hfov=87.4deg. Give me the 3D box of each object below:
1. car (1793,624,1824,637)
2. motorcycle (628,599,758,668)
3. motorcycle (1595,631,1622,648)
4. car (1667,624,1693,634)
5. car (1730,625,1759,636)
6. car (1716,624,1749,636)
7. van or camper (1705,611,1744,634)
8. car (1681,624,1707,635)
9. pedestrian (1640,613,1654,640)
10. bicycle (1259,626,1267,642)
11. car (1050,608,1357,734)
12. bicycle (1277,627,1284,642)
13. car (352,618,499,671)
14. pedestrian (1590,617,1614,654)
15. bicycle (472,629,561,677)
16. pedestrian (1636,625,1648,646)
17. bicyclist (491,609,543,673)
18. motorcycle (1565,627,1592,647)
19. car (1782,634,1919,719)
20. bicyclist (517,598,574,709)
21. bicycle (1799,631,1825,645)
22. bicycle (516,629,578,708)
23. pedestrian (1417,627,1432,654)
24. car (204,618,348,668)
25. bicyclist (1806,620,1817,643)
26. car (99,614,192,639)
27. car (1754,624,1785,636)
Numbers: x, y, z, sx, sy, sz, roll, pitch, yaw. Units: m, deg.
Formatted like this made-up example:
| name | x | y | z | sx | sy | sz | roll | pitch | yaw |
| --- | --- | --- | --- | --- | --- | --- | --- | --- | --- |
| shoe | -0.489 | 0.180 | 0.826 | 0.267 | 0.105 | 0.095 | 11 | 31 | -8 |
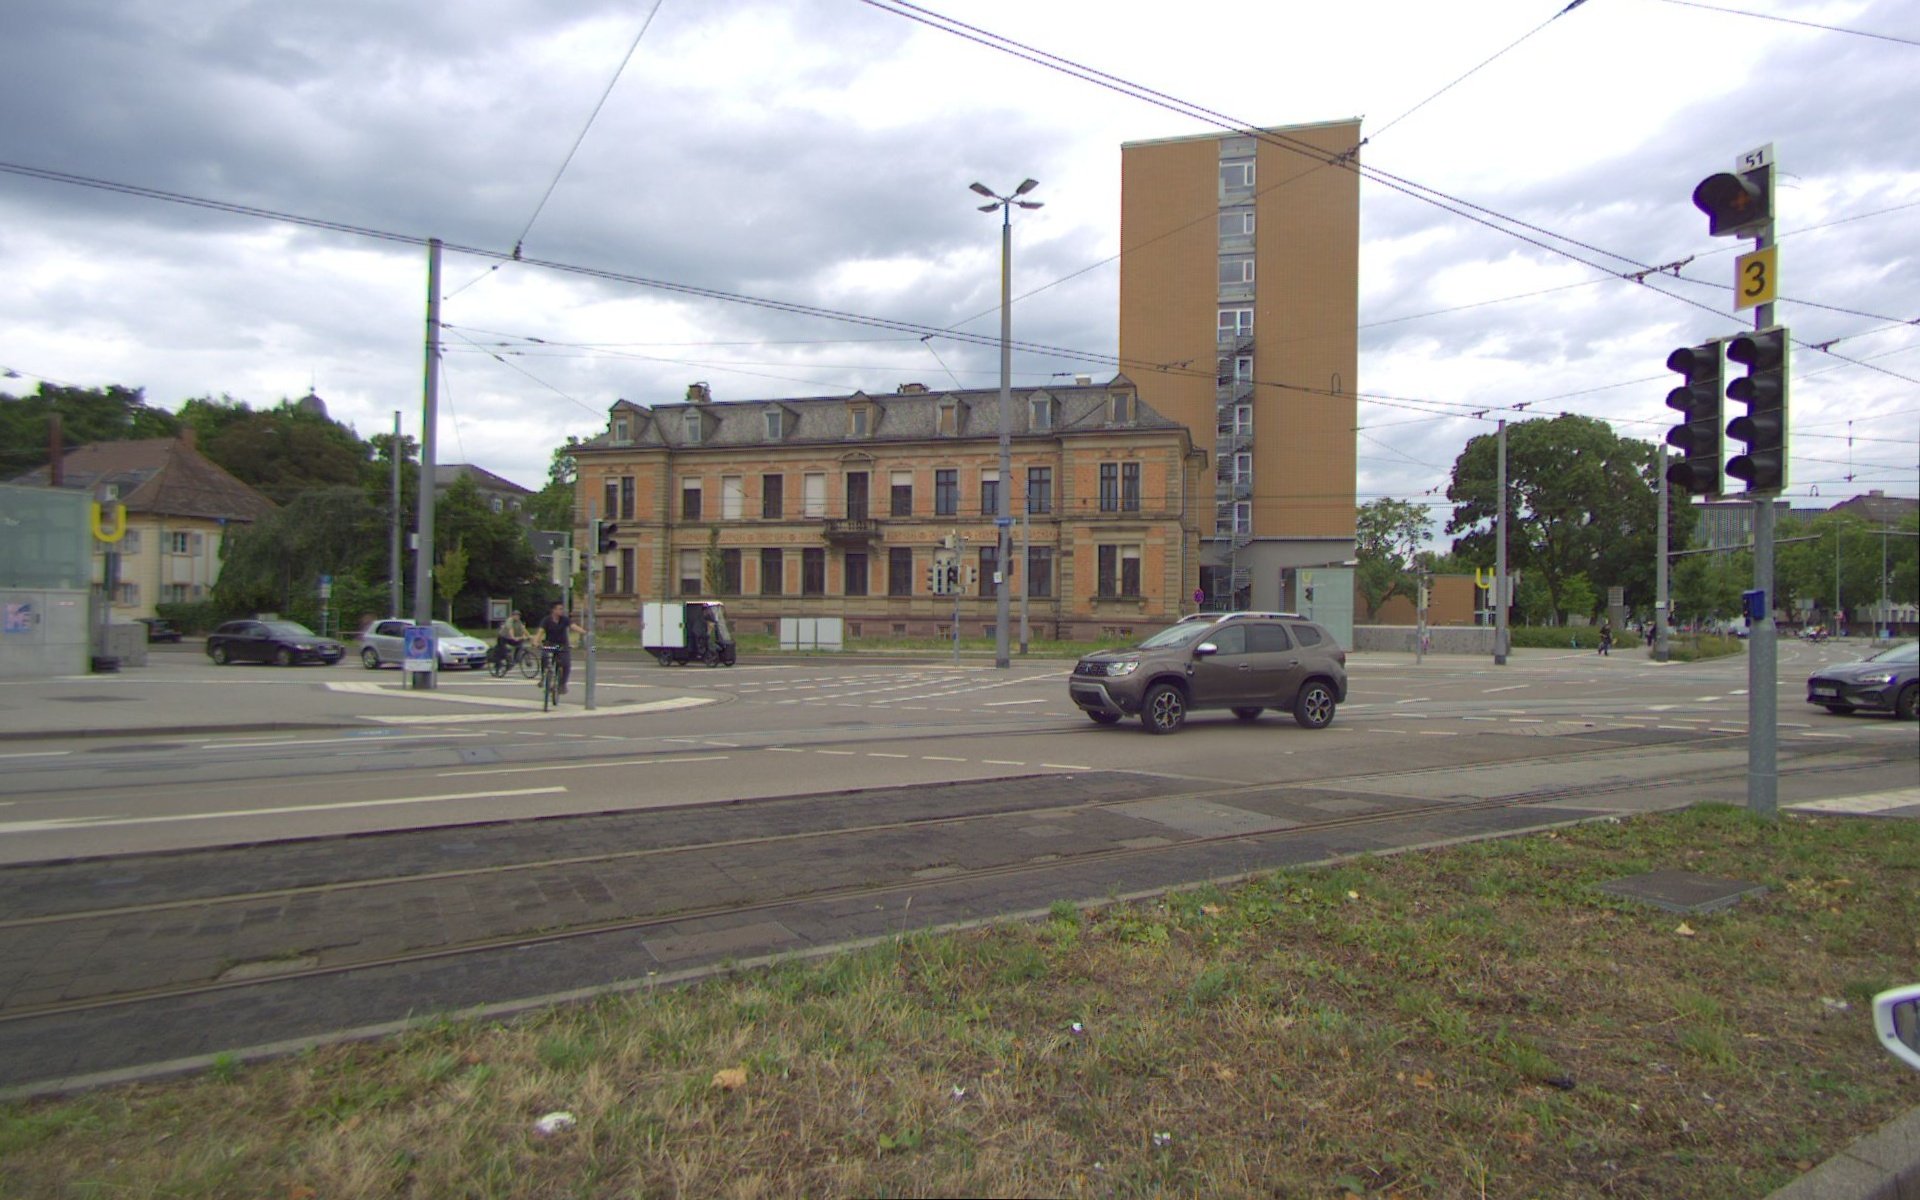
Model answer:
| name | x | y | z | sx | sy | sz | roll | pitch | yaw |
| --- | --- | --- | --- | --- | --- | --- | --- | --- | --- |
| car | 105.460 | 3.748 | 124.839 | 1.747 | 1.483 | 3.999 | 1 | 0 | 22 |
| motorcycle | -8.405 | 1.030 | 31.636 | 3.614 | 2.040 | 1.696 | 0 | -1 | 19 |
| motorcycle | 43.815 | 2.643 | 67.872 | 1.716 | 1.126 | 0.510 | 1 | -1 | -17 |
| car | 114.060 | 4.559 | 159.148 | 1.745 | 1.483 | 4.002 | 1 | 0 | 11 |
| car | 110.838 | 4.327 | 141.889 | 1.746 | 1.483 | 4.002 | 1 | 0 | 15 |
| car | 95.082 | 3.694 | 123.670 | 1.746 | 1.483 | 4.002 | 1 | -1 | 14 |
| van or camper | 108.414 | 3.184 | 142.522 | 2.347 | 3.165 | 5.507 | 1 | -1 | 12 |
| car | 110.089 | 4.380 | 150.630 | 1.746 | 1.483 | 4.002 | 1 | 0 | 15 |
| pedestrian | 53.189 | 2.047 | 77.791 | 0.781 | 2.007 | 0.880 | 1 | -1 | 26 |
| bicycle | 22.330 | 2.511 | 74.006 | 0.561 | 1.120 | 1.428 | 1 | -1 | 18 |
| car | 3.612 | 0.992 | 14.957 | 4.167 | 1.662 | 1.795 | 1 | -1 | -21 |
| bicycle | 23.528 | 2.505 | 73.684 | 0.472 | 1.063 | 1.428 | 1 | -1 | 18 |
| car | -16.131 | 1.294 | 30.311 | 4.081 | 1.473 | 1.761 | 0 | -1 | 23 |
| pedestrian | 35.848 | 1.982 | 56.058 | 1.009 | 2.040 | 0.842 | 0 | -1 | 41 |
| bicycle | -11.754 | 1.384 | 26.649 | 2.154 | 1.224 | 0.857 | 0 | -1 | 20 |
| pedestrian | 64.822 | 3.367 | 95.435 | 0.868 | 2.007 | 0.792 | 0 | -2 | 42 |
| bicyclist | -11.743 | 1.084 | 26.656 | 0.899 | 1.644 | 0.855 | 0 | -1 | 20 |
| motorcycle | 41.711 | 2.505 | 67.746 | 1.443 | 1.285 | 0.512 | 1 | 0 | 14 |
| car | 17.679 | 1.357 | 18.064 | 4.304 | 1.414 | 1.699 | 1 | -1 | 4 |
| bicyclist | -7.097 | 0.893 | 17.175 | 0.805 | 1.822 | 1.022 | -1 | 0 | -28 |
| bicycle | 78.100 | 3.471 | 92.097 | 1.791 | 1.252 | 0.435 | 1 | -1 | 14 |
| bicycle | -7.054 | 1.132 | 17.114 | 0.805 | 1.259 | 1.986 | 0 | -2 | -27 |
| pedestrian | 23.292 | 2.034 | 50.416 | 0.562 | 1.353 | 0.499 | 1 | 0 | 10 |
| car | -21.965 | 1.335 | 32.283 | 4.061 | 1.468 | 1.697 | 1 | 0 | 18 |
| bicyclist | 78.092 | 2.903 | 92.106 | 0.578 | 2.040 | 0.514 | 1 | -1 | 13 |
| car | -44.910 | 1.466 | 55.418 | 3.919 | 1.305 | 1.936 | 1 | -1 | 12 |
| car | 109.317 | 4.099 | 135.674 | 1.746 | 1.483 | 4.002 | 1 | 0 | 14 |
